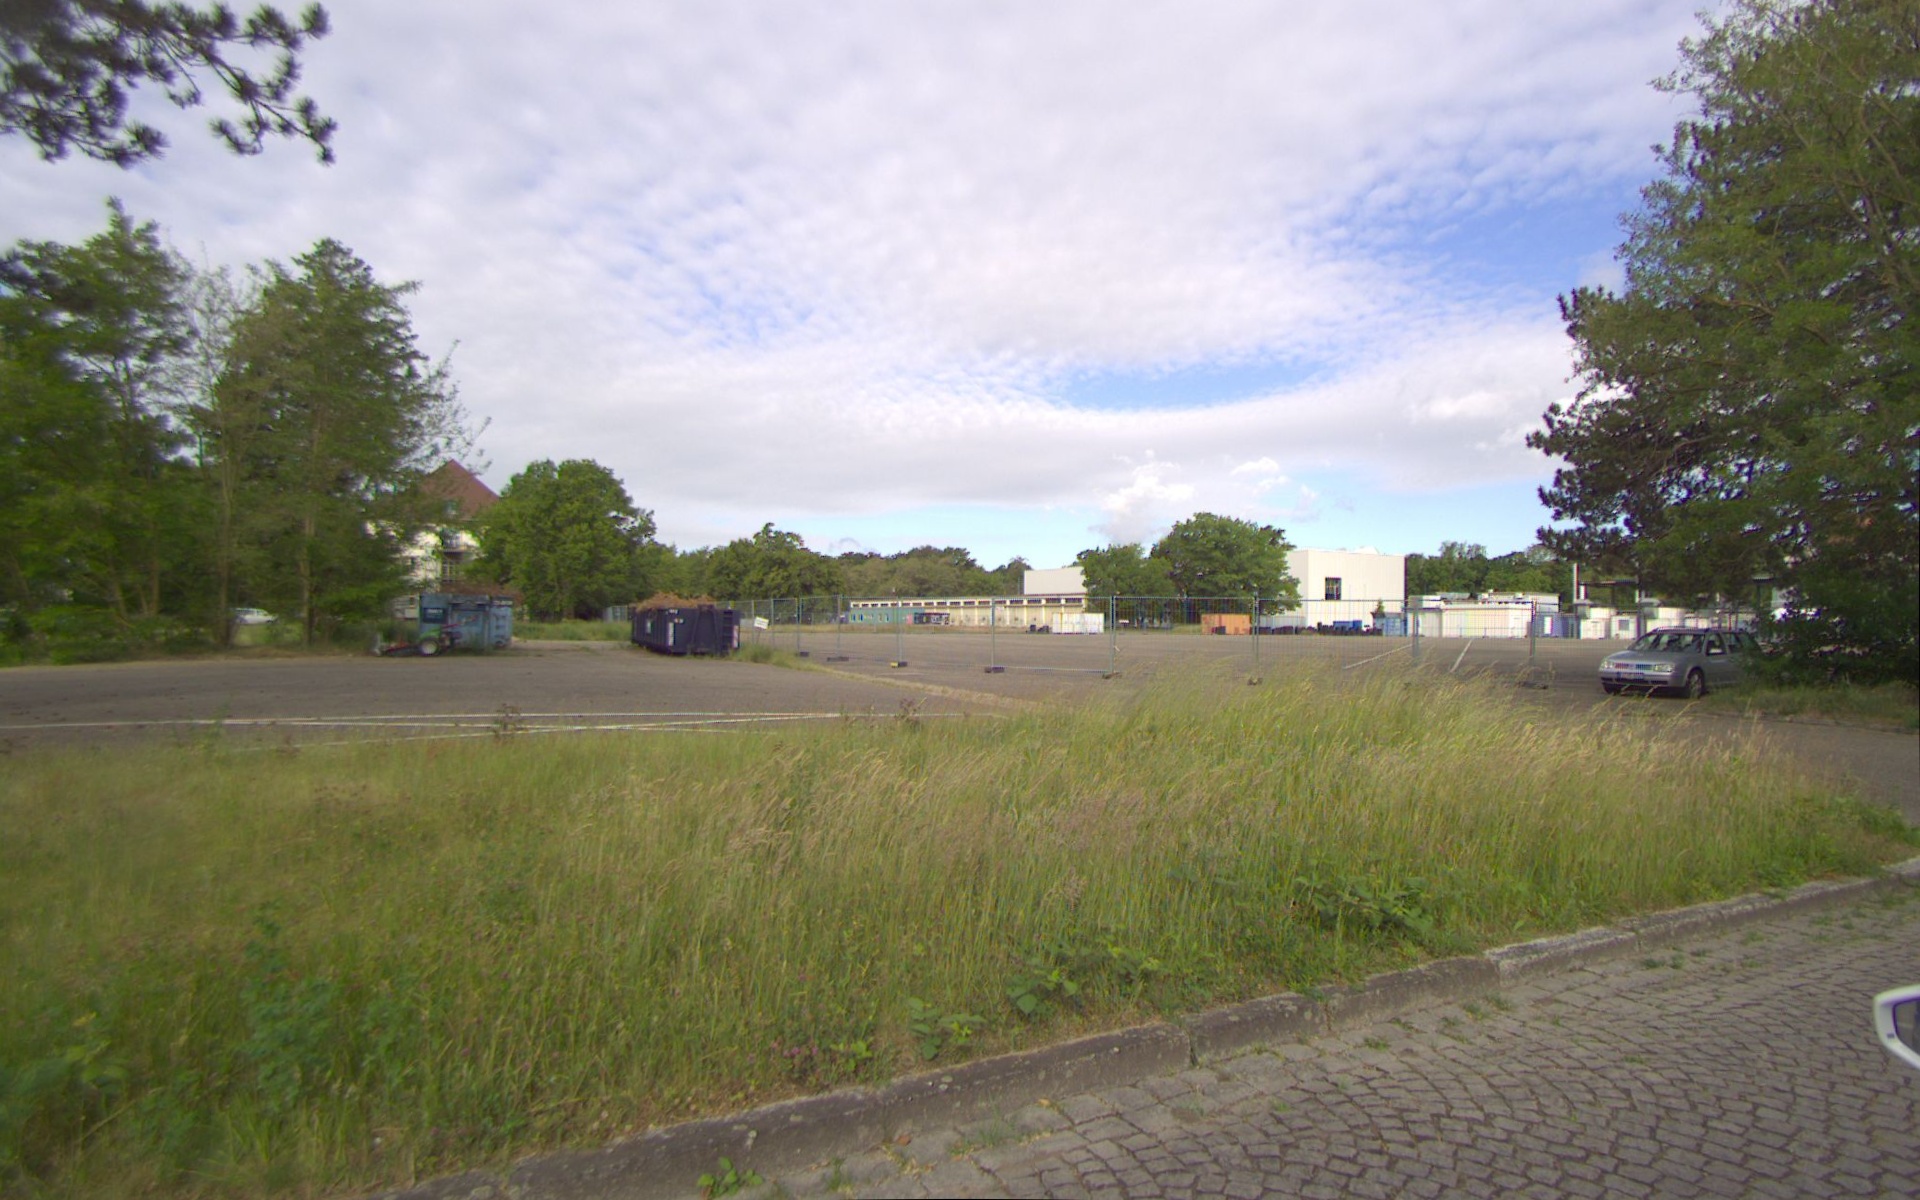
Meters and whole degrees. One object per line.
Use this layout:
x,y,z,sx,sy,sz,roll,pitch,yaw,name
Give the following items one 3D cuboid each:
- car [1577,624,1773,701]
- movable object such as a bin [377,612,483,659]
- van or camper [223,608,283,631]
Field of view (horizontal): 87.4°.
15.664,1.300,21.981,4.317,1.496,1.910,1,-1,-30,car
-14.418,0.955,27.414,2.507,1.228,1.162,1,-1,-28,movable object such as a bin
-78.290,2.142,111.370,5.188,2.496,2.192,1,-1,-29,van or camper
